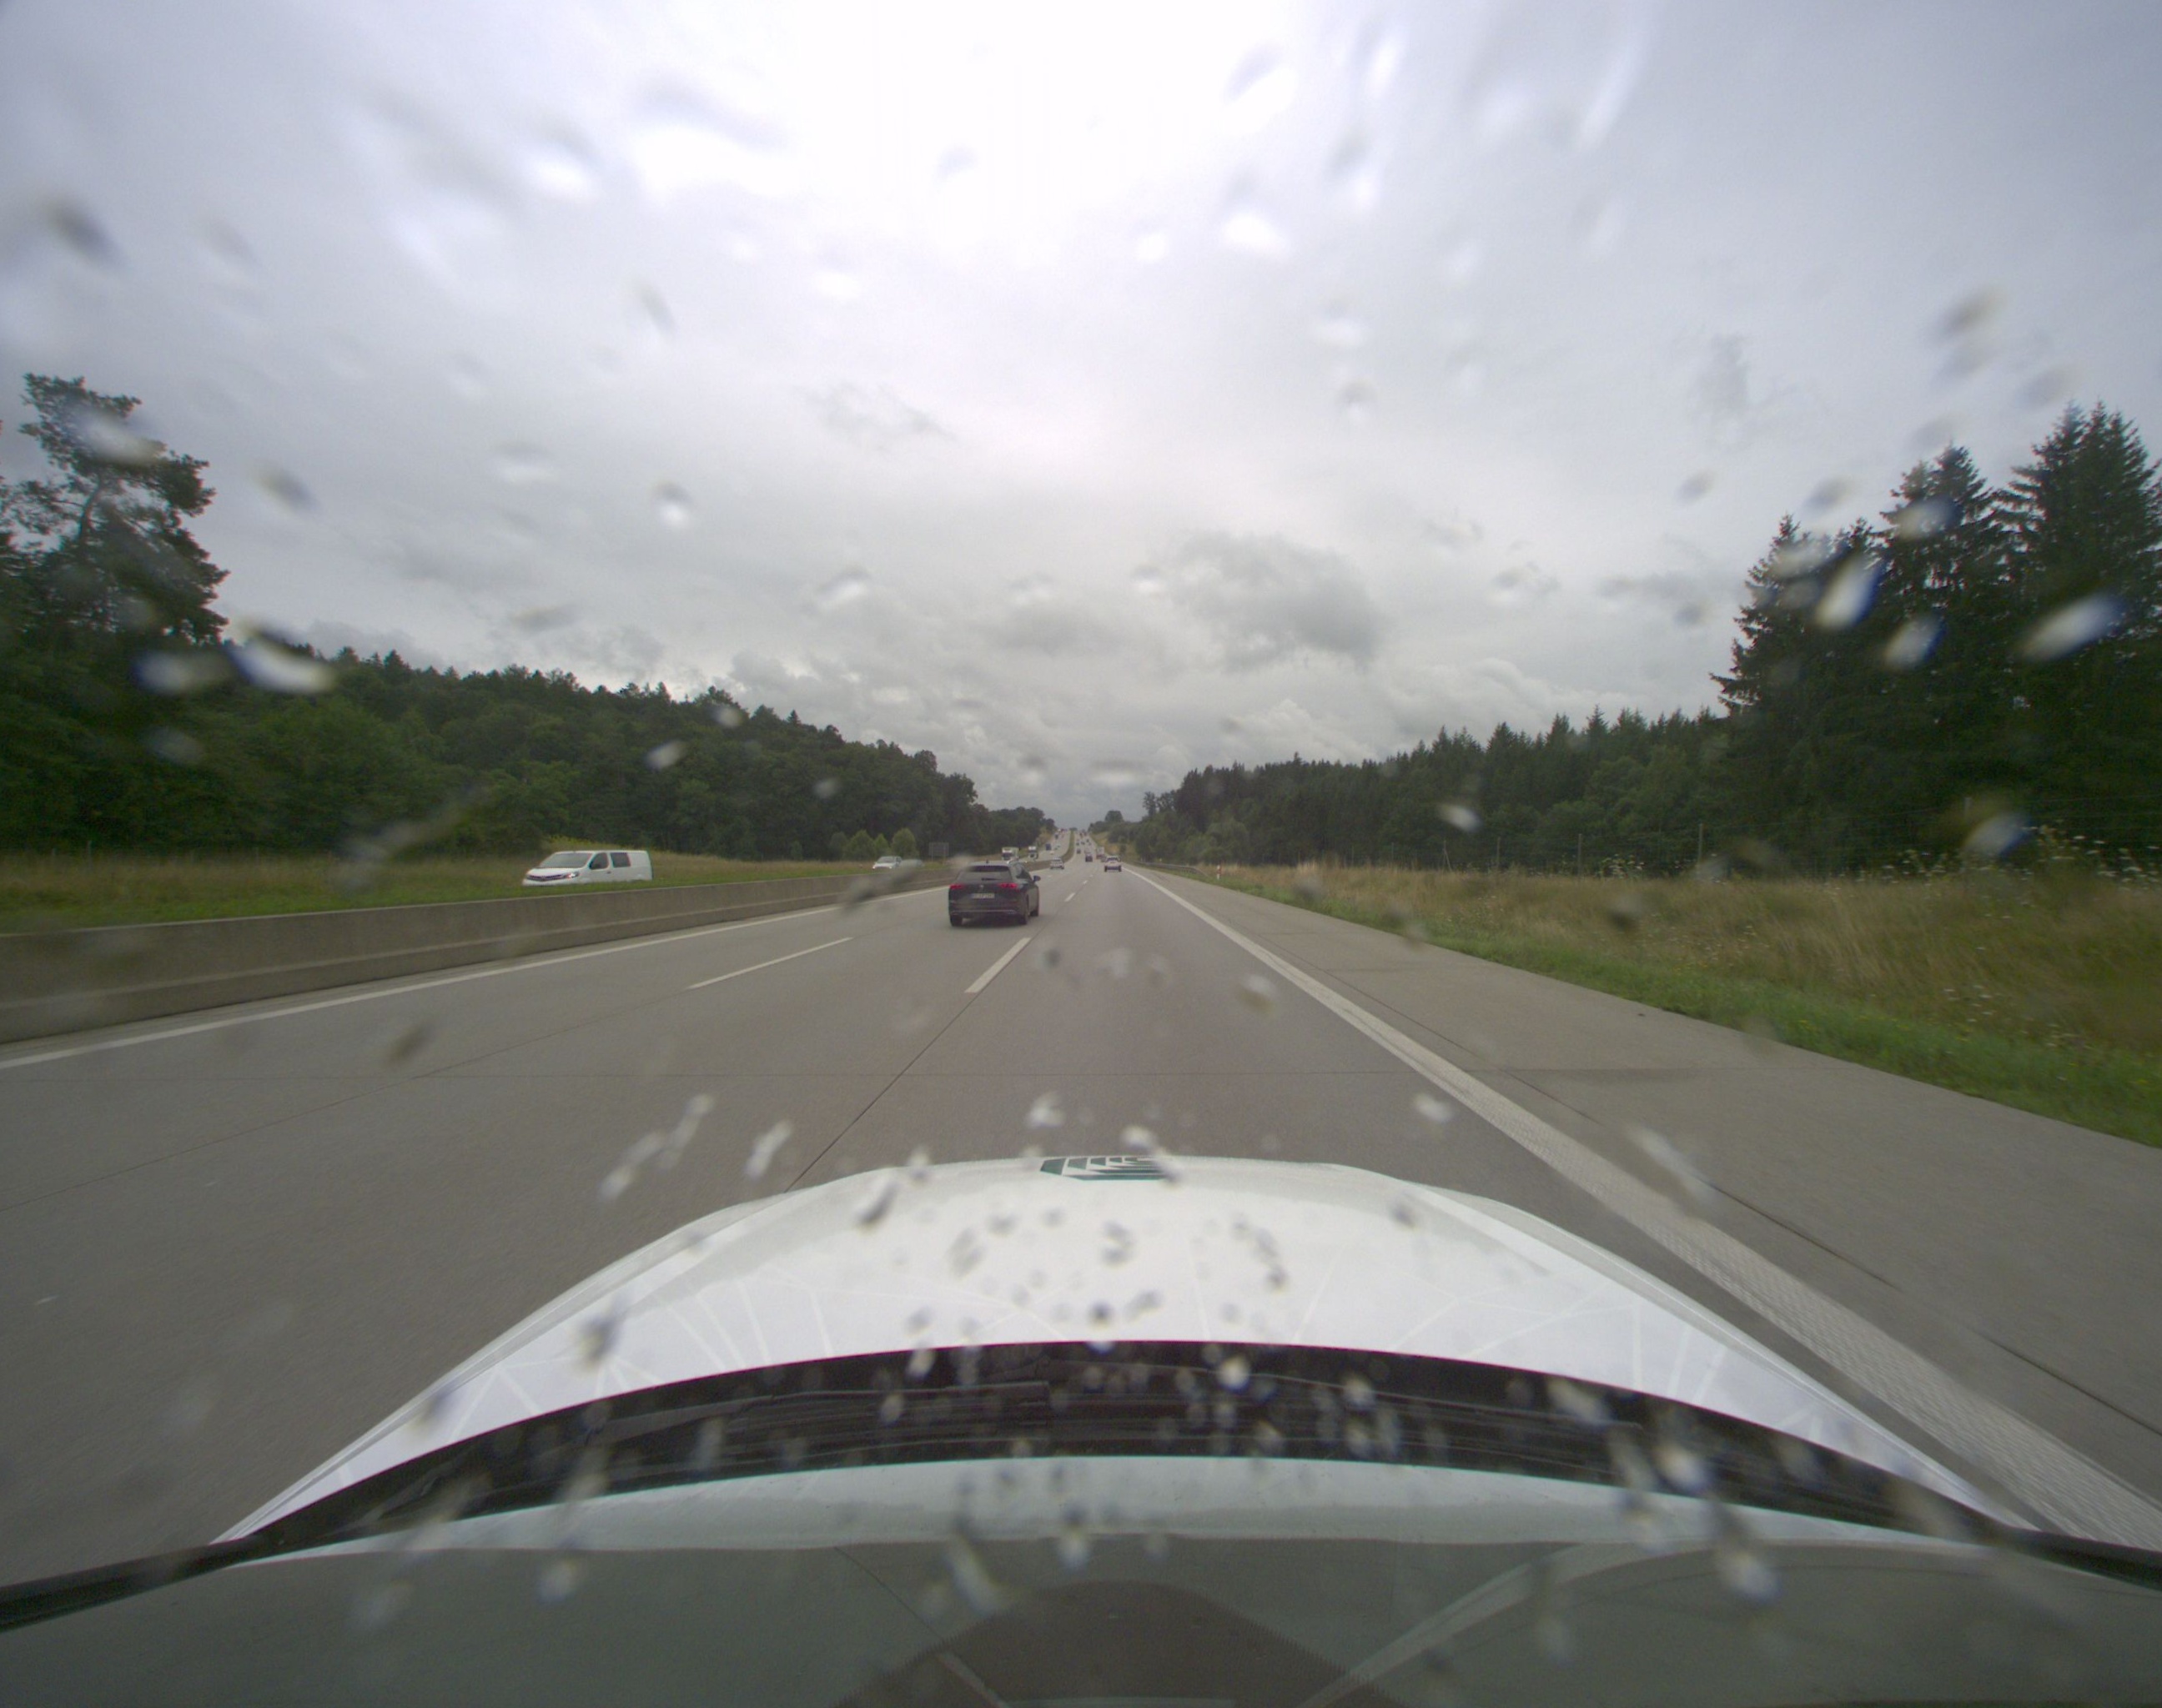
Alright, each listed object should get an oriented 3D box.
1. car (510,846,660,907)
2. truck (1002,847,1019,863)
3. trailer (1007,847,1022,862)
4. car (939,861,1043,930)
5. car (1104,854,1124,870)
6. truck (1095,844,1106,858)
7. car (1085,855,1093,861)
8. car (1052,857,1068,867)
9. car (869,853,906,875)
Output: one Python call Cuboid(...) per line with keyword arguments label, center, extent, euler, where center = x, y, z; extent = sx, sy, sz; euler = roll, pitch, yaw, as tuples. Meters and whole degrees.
Cuboid(label="car", center=(-17.804, 0.738, 29.664), extent=(1.987, 1.956, 5.626), euler=(-1, 0, 0))
Cuboid(label="truck", center=(-17.318, 0.185, 200.147), extent=(2.803, 3.773, 11.353), euler=(0, 0, 1))
Cuboid(label="trailer", center=(-17.084, 0.192, 209.714), extent=(2.808, 3.782, 7.718), euler=(0, 0, 1))
Cuboid(label="car", center=(-1.998, 0.901, 19.396), extent=(1.745, 1.398, 4.487), euler=(-1, 0, 3))
Cuboid(label="car", center=(3.536, 0.857, 87.412), extent=(1.821, 1.655, 3.982), euler=(-1, 0, -2))
Cuboid(label="truck", center=(6.200, -1.041, 260.961), extent=(3.008, 4.179, 8.352), euler=(-1, 2, -1))
Cuboid(label="car", center=(2.097, 1.079, 210.295), extent=(1.929, 1.375, 4.595), euler=(0, 1, 0))
Cuboid(label="car", center=(-3.011, 1.153, 115.726), extent=(1.939, 1.356, 4.263), euler=(-1, 0, 3))
Cuboid(label="car", center=(-16.366, 0.828, 69.183), extent=(1.986, 1.800, 4.392), euler=(-1, 0, 1))
